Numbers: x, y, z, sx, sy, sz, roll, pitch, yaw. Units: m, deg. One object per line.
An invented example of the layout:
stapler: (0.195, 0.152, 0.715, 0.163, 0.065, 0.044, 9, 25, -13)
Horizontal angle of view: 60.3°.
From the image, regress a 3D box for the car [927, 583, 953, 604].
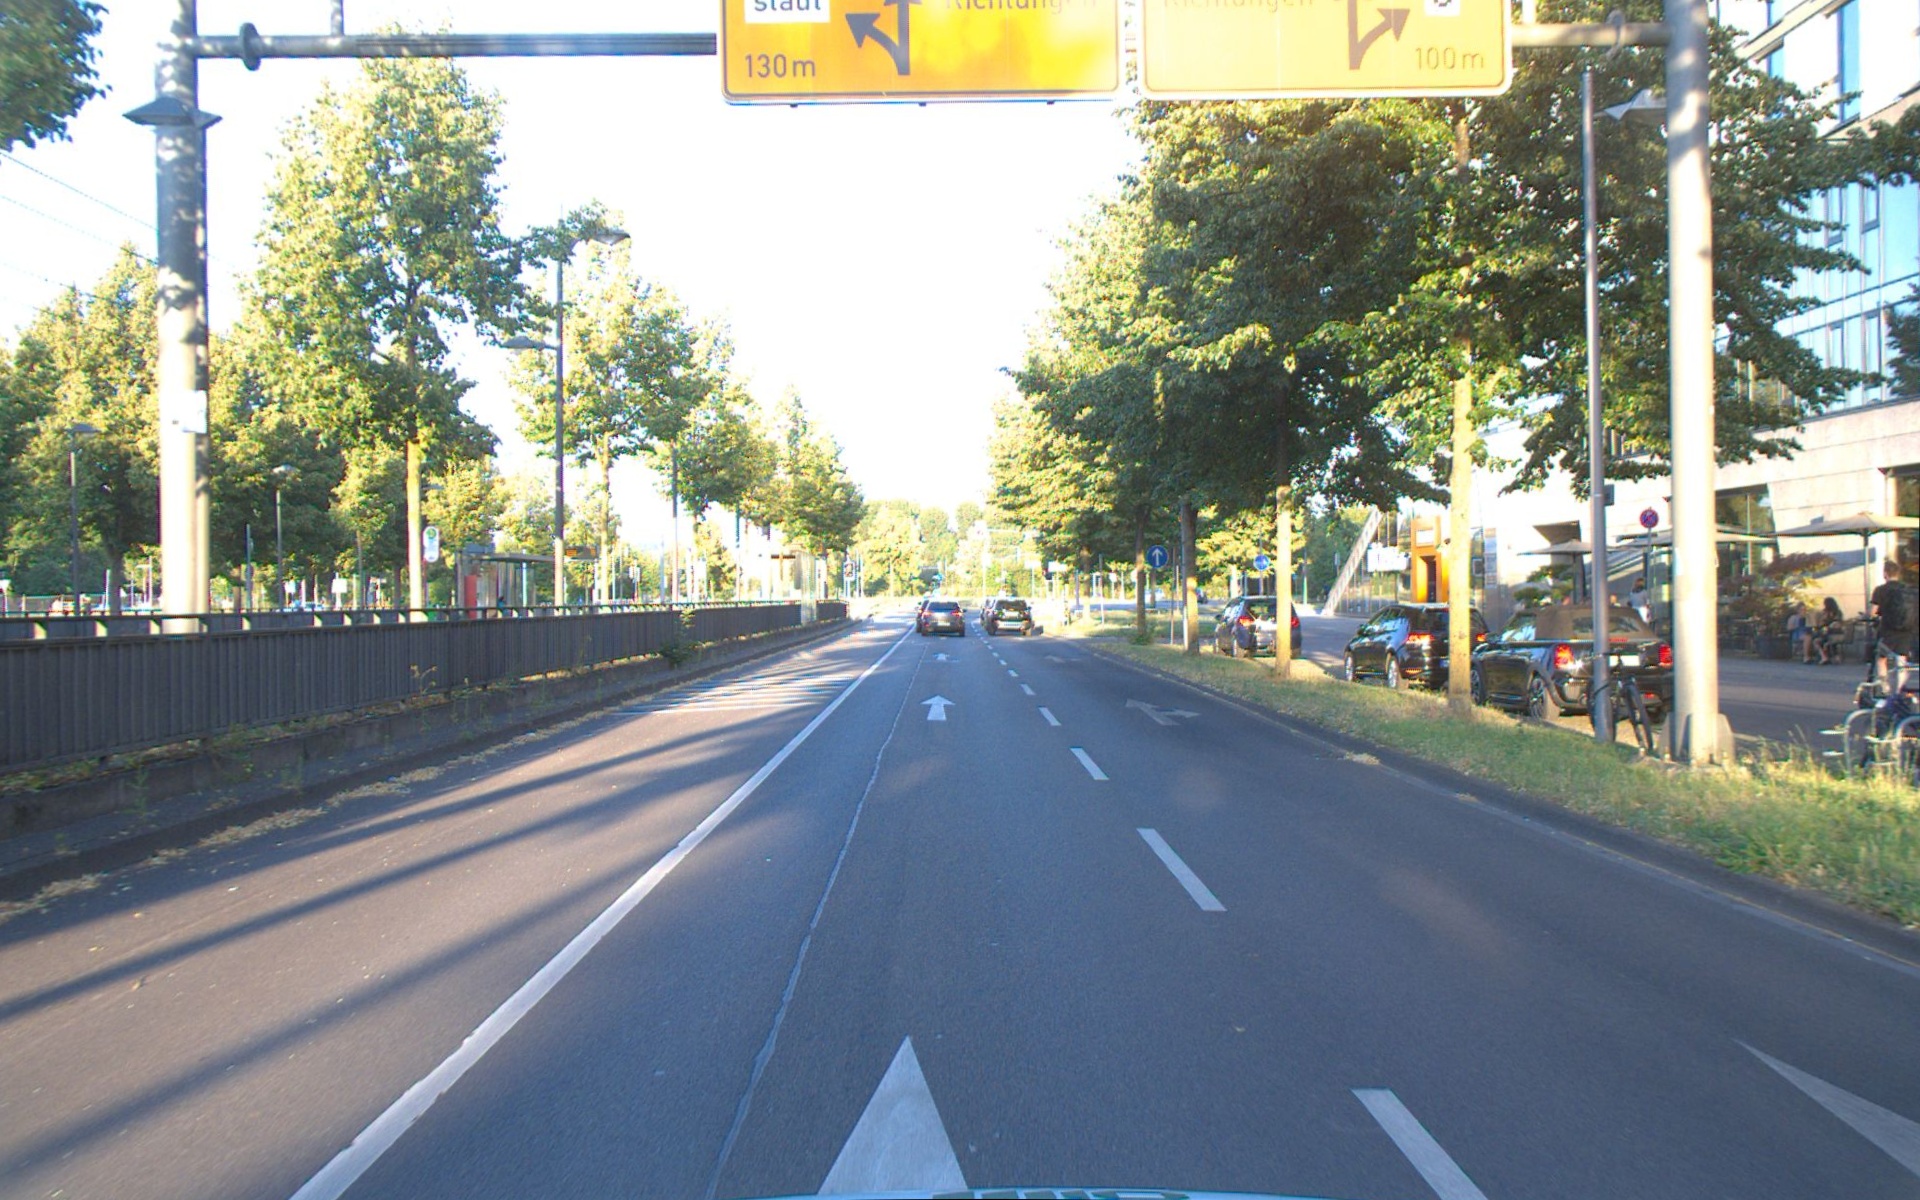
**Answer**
car: (-1.494, -0.486, 124.009, 1.873, 1.512, 3.999, -1, 0, -1)

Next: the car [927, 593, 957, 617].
car: (-1.204, 0.331, 107.345, 1.873, 1.512, 3.999, -1, 0, -1)

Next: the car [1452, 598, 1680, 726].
car: (7.774, 0.741, 21.570, 1.543, 1.498, 3.881, -1, 0, 0)

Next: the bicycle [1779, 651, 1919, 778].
bicycle: (7.827, 0.950, 13.461, 2.102, 0.956, 0.544, 3, 0, -7)

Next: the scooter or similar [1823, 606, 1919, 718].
scooter or similar: (11.604, 0.753, 20.844, 0.515, 1.333, 1.663, -1, 0, -3)

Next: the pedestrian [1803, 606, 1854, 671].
pedestrian: (16.601, 0.728, 31.628, 0.559, 1.216, 0.807, -1, 0, 1)

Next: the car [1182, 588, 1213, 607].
car: (22.877, -0.239, 159.174, 1.954, 1.758, 3.998, -1, 0, 24)

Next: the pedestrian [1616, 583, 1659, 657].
pedestrian: (16.272, 0.472, 39.723, 0.696, 1.768, 0.682, 0, 0, -31)

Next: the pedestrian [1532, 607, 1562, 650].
pedestrian: (16.622, 0.801, 46.845, 0.560, 1.207, 0.861, -1, 0, 1)

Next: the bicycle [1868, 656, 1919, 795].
bicycle: (7.680, 0.940, 11.926, 2.102, 0.956, 0.451, 3, 0, -7)

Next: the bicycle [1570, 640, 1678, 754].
bicycle: (6.387, 0.903, 15.984, 0.312, 0.997, 1.846, -1, 0, 1)

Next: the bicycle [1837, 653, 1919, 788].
bicycle: (7.701, 0.933, 12.385, 2.102, 0.956, 0.442, 3, 0, -7)

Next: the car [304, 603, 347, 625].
car: (-50.969, 1.099, 132.874, 1.953, 1.691, 3.999, -1, 0, -1)

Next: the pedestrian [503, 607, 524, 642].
pedestrian: (-17.265, 0.942, 63.968, 0.602, 1.342, 0.744, -1, 0, -4)

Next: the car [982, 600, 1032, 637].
car: (1.934, 0.763, 69.292, 1.873, 1.512, 3.999, 0, 0, -1)

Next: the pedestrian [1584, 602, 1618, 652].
pedestrian: (16.753, 0.703, 43.226, 0.567, 1.305, 0.738, -1, 0, -4)

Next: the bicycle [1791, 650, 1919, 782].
bicycle: (7.628, 0.928, 12.934, 2.102, 0.956, 0.442, 3, 0, -7)

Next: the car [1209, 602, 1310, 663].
car: (7.863, 0.821, 43.740, 1.722, 1.491, 4.156, -1, 0, -3)

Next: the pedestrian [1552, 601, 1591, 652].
pedestrian: (16.107, 0.689, 43.571, 0.617, 1.305, 0.712, 0, 0, -22)

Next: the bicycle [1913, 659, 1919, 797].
bicycle: (7.728, 0.942, 11.444, 2.102, 0.956, 0.442, 3, 0, -7)

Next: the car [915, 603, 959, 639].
car: (-1.037, 0.884, 72.507, 1.873, 1.512, 3.999, -1, 0, -1)

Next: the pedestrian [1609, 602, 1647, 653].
pedestrian: (17.467, 0.714, 43.263, 0.570, 1.305, 0.735, 0, 0, -19)

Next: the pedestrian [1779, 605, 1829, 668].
pedestrian: (16.622, 0.718, 32.571, 0.560, 1.216, 0.806, -1, 0, 0)

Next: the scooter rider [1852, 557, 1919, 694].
scooter rider: (11.618, 0.313, 20.597, 0.515, 1.667, 0.831, -1, 0, -3)

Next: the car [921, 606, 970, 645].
car: (-0.611, 0.993, 66.017, 1.873, 1.512, 3.999, -1, 0, -1)

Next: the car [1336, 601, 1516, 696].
car: (7.941, 0.783, 28.564, 1.742, 1.498, 4.286, -1, 0, -2)
